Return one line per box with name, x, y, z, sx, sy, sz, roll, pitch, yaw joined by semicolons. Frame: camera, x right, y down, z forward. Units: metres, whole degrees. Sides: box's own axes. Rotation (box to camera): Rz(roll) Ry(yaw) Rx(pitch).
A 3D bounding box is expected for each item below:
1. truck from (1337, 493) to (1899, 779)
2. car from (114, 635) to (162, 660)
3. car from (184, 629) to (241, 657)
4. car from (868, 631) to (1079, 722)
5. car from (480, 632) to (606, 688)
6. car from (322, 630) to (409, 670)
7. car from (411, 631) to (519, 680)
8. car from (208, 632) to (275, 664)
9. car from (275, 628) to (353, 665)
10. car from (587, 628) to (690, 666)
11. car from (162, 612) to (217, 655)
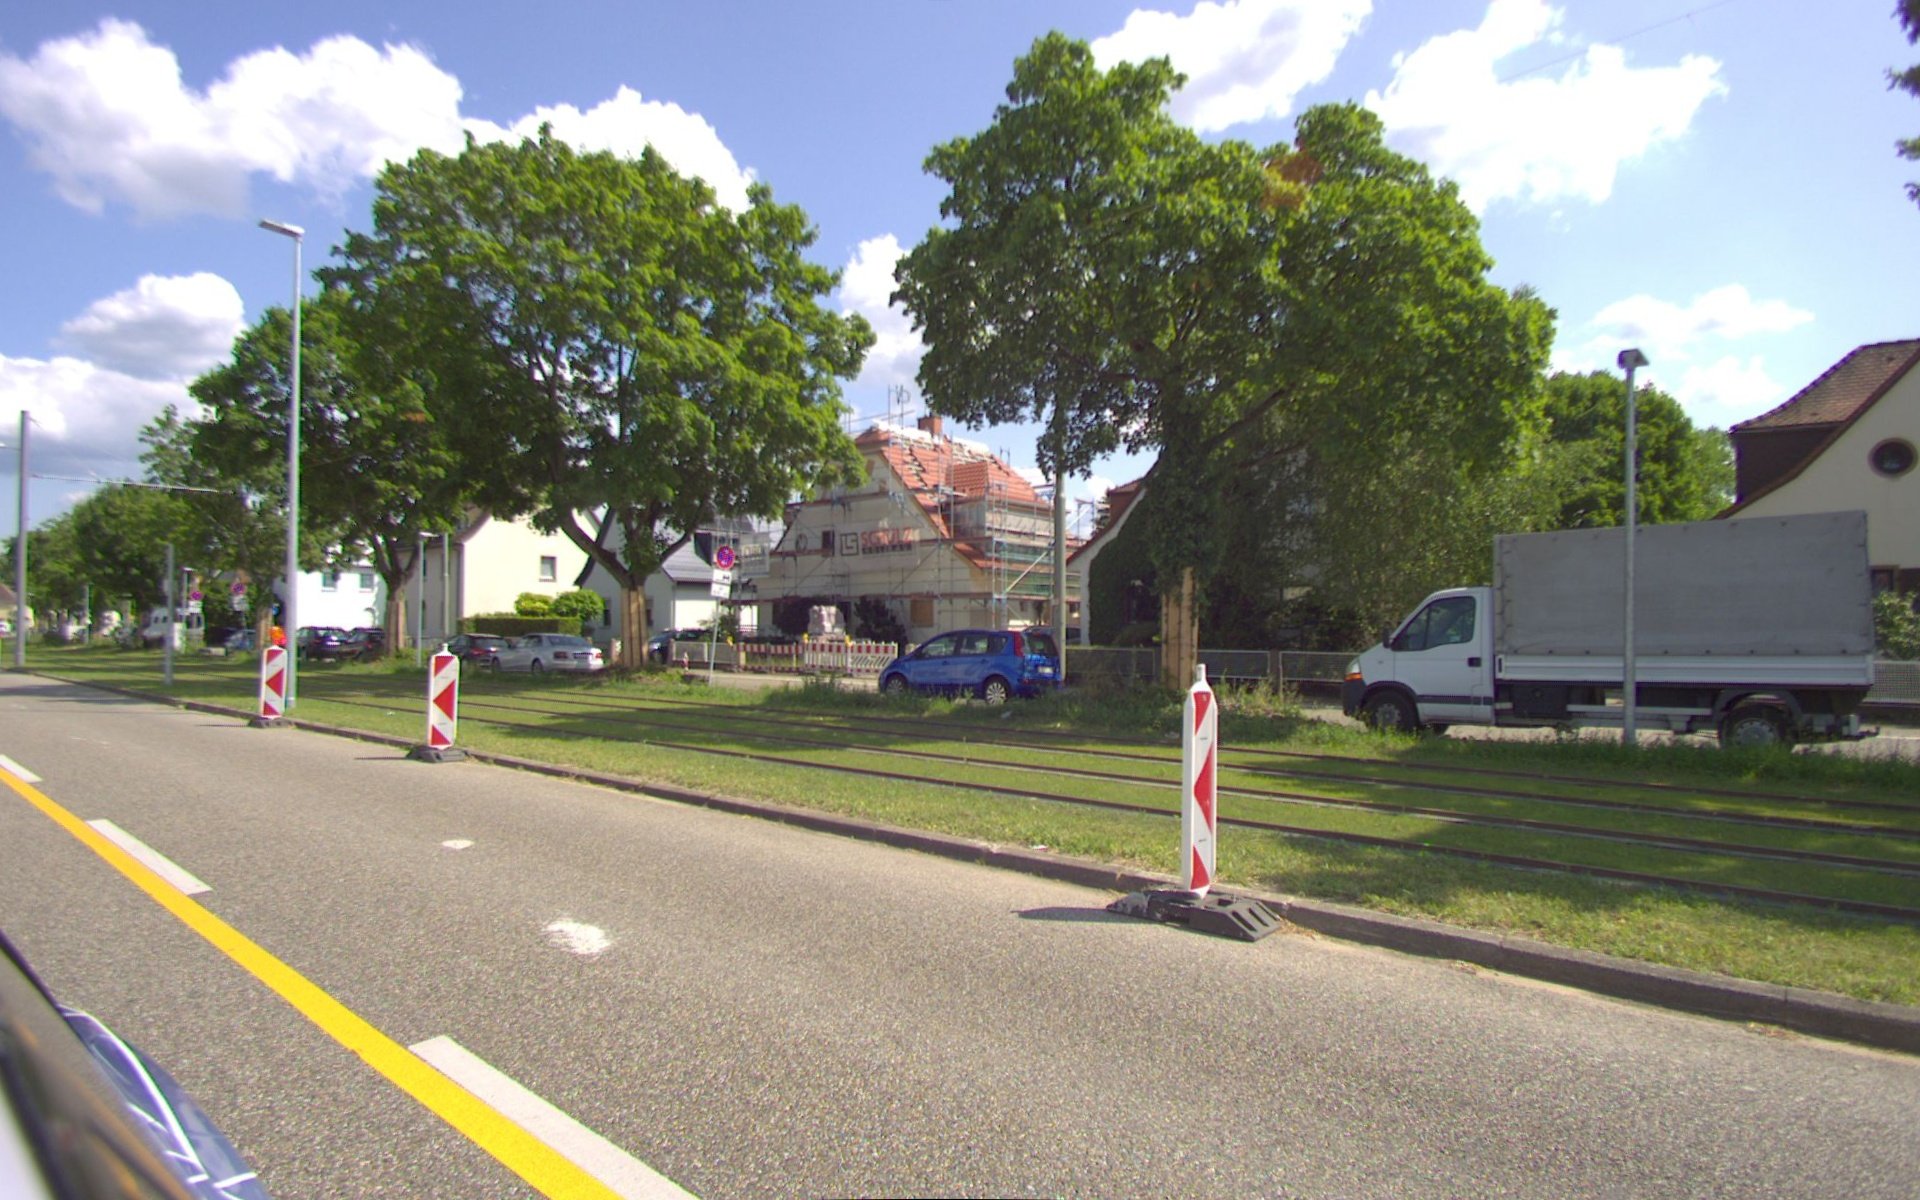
truck;8.279;0.466;13.355;5.871;3.010;1.982;-2;-3;41
car;-57.021;3.269;70.146;4.603;1.623;1.733;-2;-3;40
car;-44.643;2.554;60.401;4.603;1.623;1.733;-2;-3;40
car;0.206;1.444;20.172;4.047;1.623;1.733;-2;-3;40
car;-13.169;1.831;31.859;4.603;1.623;1.733;-2;-3;40
car;-25.180;2.075;42.825;4.603;1.623;1.733;-2;-3;40
car;-17.611;1.916;35.929;4.603;1.623;1.733;-2;-3;40
car;-37.642;2.470;52.976;4.603;1.623;1.733;-2;-3;40
car;-29.599;2.100;46.328;4.603;1.623;1.733;-2;-3;40
car;-14.079;2.049;44.506;1.756;1.623;3.995;-2;-3;41
car;-48.821;2.108;64.085;4.603;2.636;1.733;-2;-3;40
